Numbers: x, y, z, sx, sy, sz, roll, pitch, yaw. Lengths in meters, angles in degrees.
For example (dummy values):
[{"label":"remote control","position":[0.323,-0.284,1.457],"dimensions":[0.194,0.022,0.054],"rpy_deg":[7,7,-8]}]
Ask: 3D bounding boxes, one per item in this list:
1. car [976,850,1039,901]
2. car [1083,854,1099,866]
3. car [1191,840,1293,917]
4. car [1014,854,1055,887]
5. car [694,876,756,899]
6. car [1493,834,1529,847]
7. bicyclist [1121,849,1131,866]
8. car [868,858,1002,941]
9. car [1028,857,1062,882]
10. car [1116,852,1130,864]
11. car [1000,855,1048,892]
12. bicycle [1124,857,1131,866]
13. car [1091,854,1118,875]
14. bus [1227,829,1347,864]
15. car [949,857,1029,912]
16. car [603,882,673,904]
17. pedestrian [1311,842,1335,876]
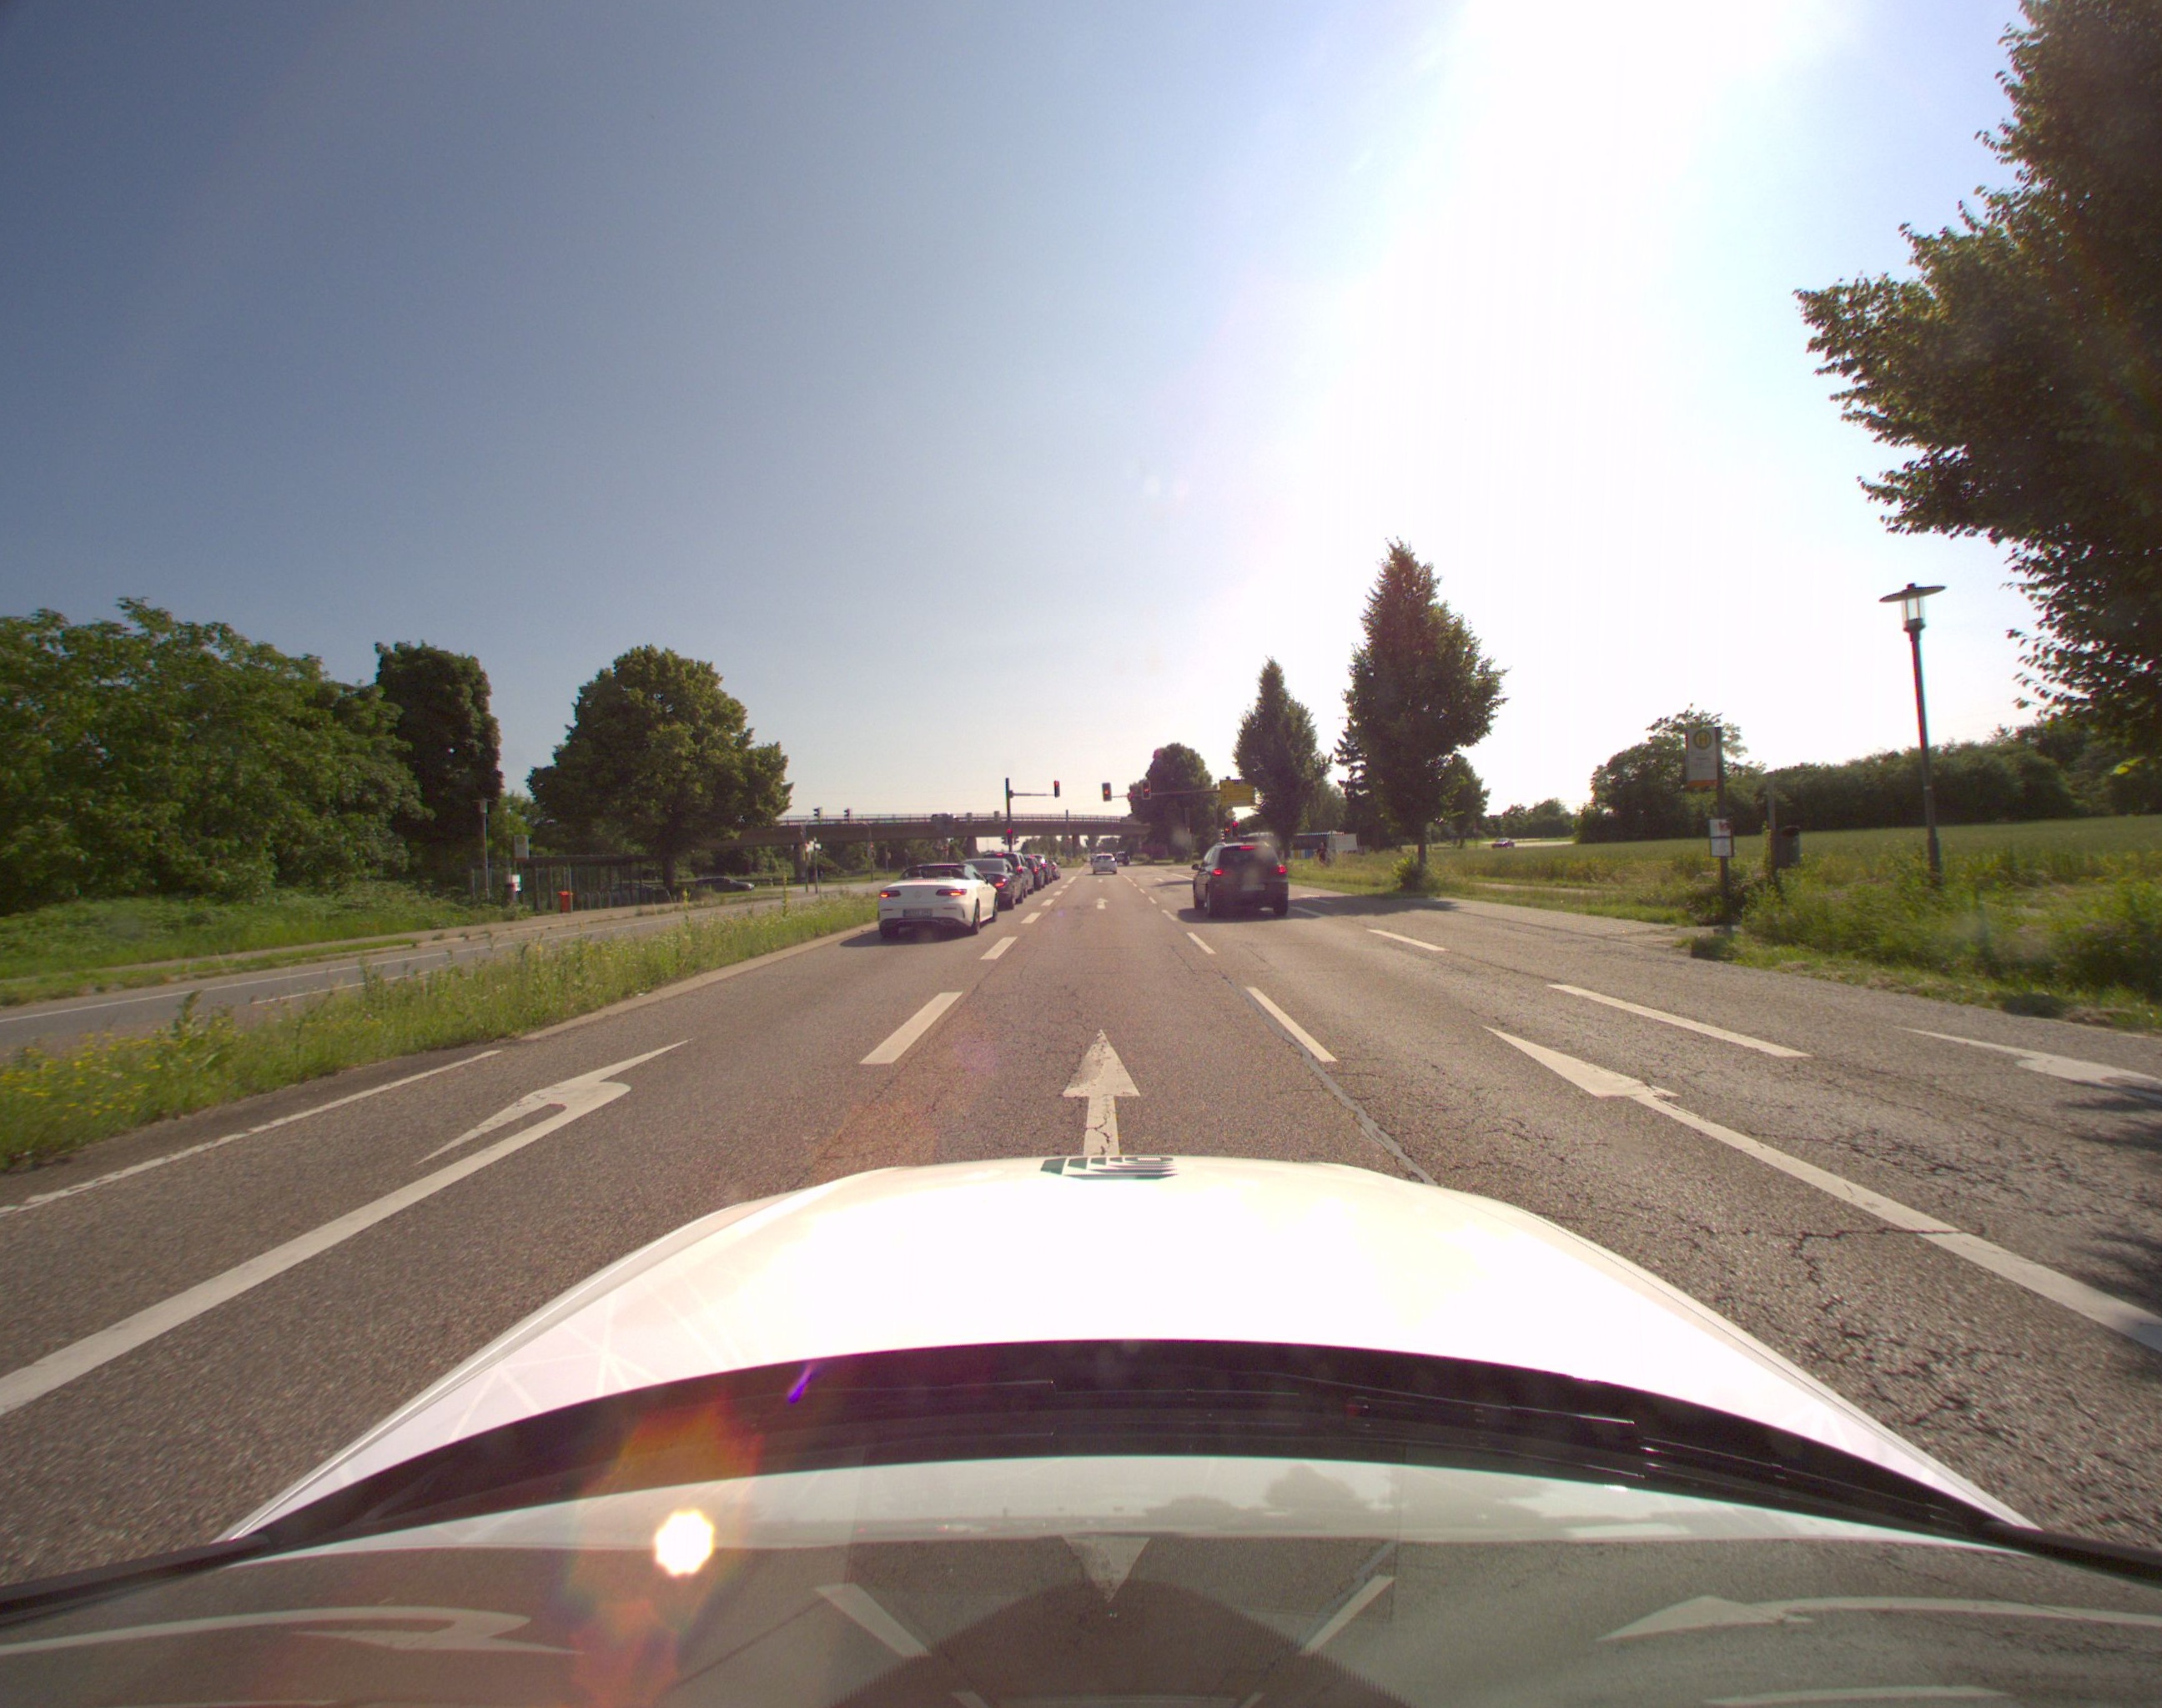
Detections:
[{"label":"car","position":[-2.620,0.730,29.987],"dimensions":[1.735,1.672,4.358],"rpy_deg":[-3,0,1]},{"label":"car","position":[1.310,0.767,107.098],"dimensions":[1.866,1.492,4.002],"rpy_deg":[-2,0,2]},{"label":"car","position":[3.765,0.539,19.696],"dimensions":[1.749,1.655,4.148],"rpy_deg":[-1,0,1]},{"label":"car","position":[-2.350,0.796,42.201],"dimensions":[1.722,1.547,4.099],"rpy_deg":[-2,0,1]},{"label":"car","position":[-27.119,2.518,62.120],"dimensions":[4.126,1.424,1.859],"rpy_deg":[-3,0,-19]},{"label":"car","position":[53.051,-1.630,100.414],"dimensions":[4.001,1.398,1.669],"rpy_deg":[-3,0,-21]},{"label":"bicyclist","position":[5.007,0.387,90.161],"dimensions":[1.003,1.886,1.327],"rpy_deg":[-2,0,2]},{"label":"car","position":[-2.830,0.826,16.847],"dimensions":[1.797,1.425,4.642],"rpy_deg":[-2,0,1]},{"label":"car","position":[-2.114,0.913,48.866],"dimensions":[1.667,1.335,4.099],"rpy_deg":[-2,0,1]},{"label":"car","position":[5.699,0.556,110.600],"dimensions":[1.866,1.640,4.002],"rpy_deg":[-1,0,2]},{"label":"car","position":[-2.421,0.812,35.711],"dimensions":[1.660,1.474,4.099],"rpy_deg":[-2,0,1]},{"label":"bicycle","position":[5.128,0.829,89.786],"dimensions":[0.598,0.983,2.361],"rpy_deg":[-2,0,1]},{"label":"car","position":[1.728,0.714,58.730],"dimensions":[1.843,1.461,4.002],"rpy_deg":[-1,0,2]},{"label":"bus","position":[21.099,-0.757,83.458],"dimensions":[11.956,2.877,2.928],"rpy_deg":[-3,0,-14]},{"label":"car","position":[-2.594,0.831,23.828],"dimensions":[1.708,1.410,4.356],"rpy_deg":[-1,0,1]},{"label":"car","position":[-32.225,2.824,59.337],"dimensions":[4.365,1.280,1.636],"rpy_deg":[-3,0,-28]},{"label":"pedestrian","position":[13.528,0.295,45.501],"dimensions":[0.899,1.839,1.194],"rpy_deg":[-3,0,-1]}]
